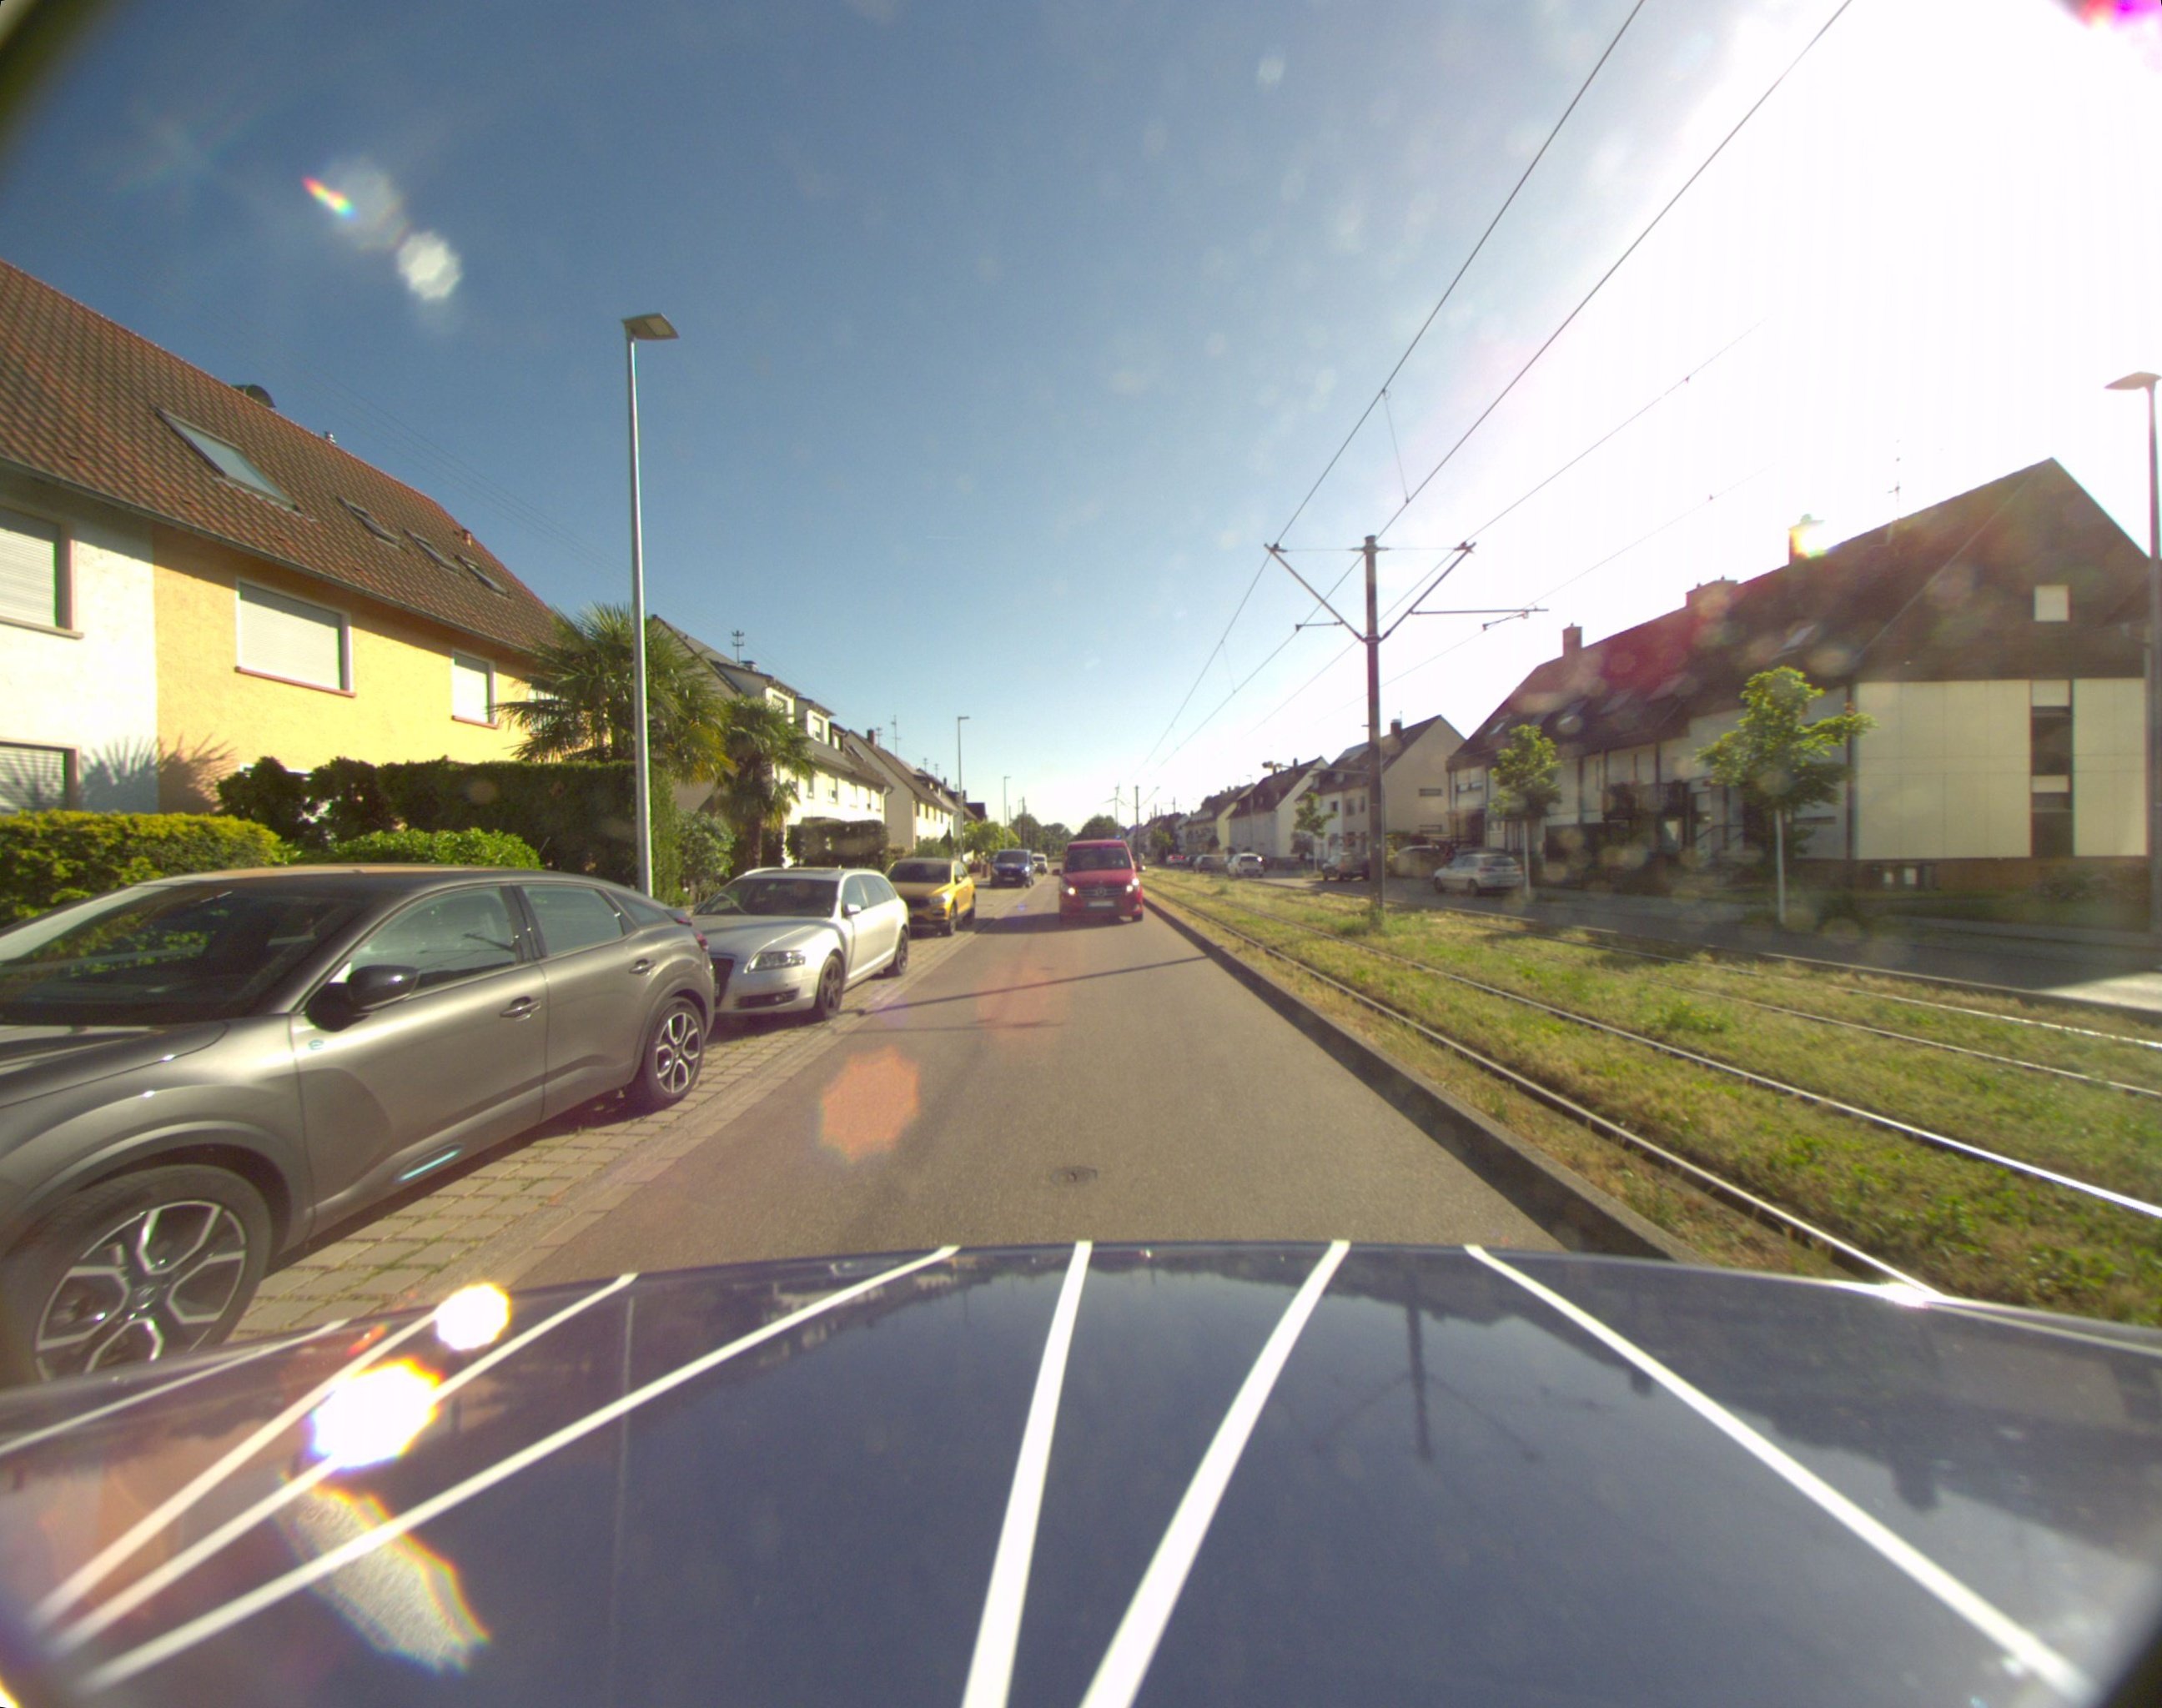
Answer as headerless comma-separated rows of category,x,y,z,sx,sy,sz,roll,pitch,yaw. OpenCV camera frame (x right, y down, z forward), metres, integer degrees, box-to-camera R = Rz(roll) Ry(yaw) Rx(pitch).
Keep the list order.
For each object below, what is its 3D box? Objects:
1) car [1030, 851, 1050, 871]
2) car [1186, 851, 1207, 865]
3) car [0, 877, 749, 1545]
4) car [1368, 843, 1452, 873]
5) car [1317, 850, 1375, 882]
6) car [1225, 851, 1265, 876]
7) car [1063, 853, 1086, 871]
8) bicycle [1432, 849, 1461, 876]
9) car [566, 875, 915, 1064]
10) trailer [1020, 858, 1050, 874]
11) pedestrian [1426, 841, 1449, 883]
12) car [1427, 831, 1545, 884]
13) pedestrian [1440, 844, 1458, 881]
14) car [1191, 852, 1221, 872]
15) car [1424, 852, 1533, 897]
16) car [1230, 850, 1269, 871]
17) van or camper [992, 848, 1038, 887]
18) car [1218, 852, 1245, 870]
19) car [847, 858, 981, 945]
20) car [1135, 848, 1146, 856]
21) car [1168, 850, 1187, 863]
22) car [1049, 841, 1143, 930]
car,-3.884,0.619,72.161,1.796,1.752,4.583,1,0,-3
car,13.091,0.446,86.457,1.704,1.389,4.092,-2,1,-1
car,-3.468,0.934,3.367,1.782,1.490,4.728,-1,0,2
car,20.614,0.238,47.794,4.403,1.773,1.970,-1,0,0
car,13.771,0.598,39.671,1.623,1.503,4.085,-2,0,1
car,10.238,0.593,47.656,1.693,1.467,3.679,1,1,-1
car,-0.635,0.731,70.840,1.862,1.592,4.327,1,1,-3
bicycle,16.098,0.363,33.506,0.478,1.156,1.872,-2,1,6
car,-3.242,0.989,8.442,1.752,1.438,4.699,0,-1,0
trailer,-3.735,0.911,61.798,2.278,1.124,6.434,2,0,-4
pedestrian,15.738,0.347,33.532,0.617,1.805,0.678,-3,1,-8
car,18.878,0.150,35.536,4.472,2.069,1.787,-4,1,1
pedestrian,16.722,0.378,34.525,0.552,1.678,0.624,-2,1,15
car,10.301,0.606,62.675,1.693,1.467,4.082,-2,1,-1
car,13.992,0.679,27.046,1.662,1.428,4.102,-2,0,-1
car,13.516,0.496,61.157,1.926,1.551,4.857,-2,1,-1
van or camper,-3.307,0.609,38.857,1.954,1.836,5.581,0,1,-1
car,13.143,0.609,66.462,1.469,1.459,3.998,-1,0,-1
car,-3.413,0.890,16.548,1.810,1.550,4.926,0,1,0
car,12.156,-0.386,155.090,1.704,1.455,4.092,-2,1,-1
car,12.419,0.317,98.349,1.832,1.522,4.092,-2,1,-1
car,0.300,0.656,19.274,1.999,1.889,5.389,-2,1,-1
